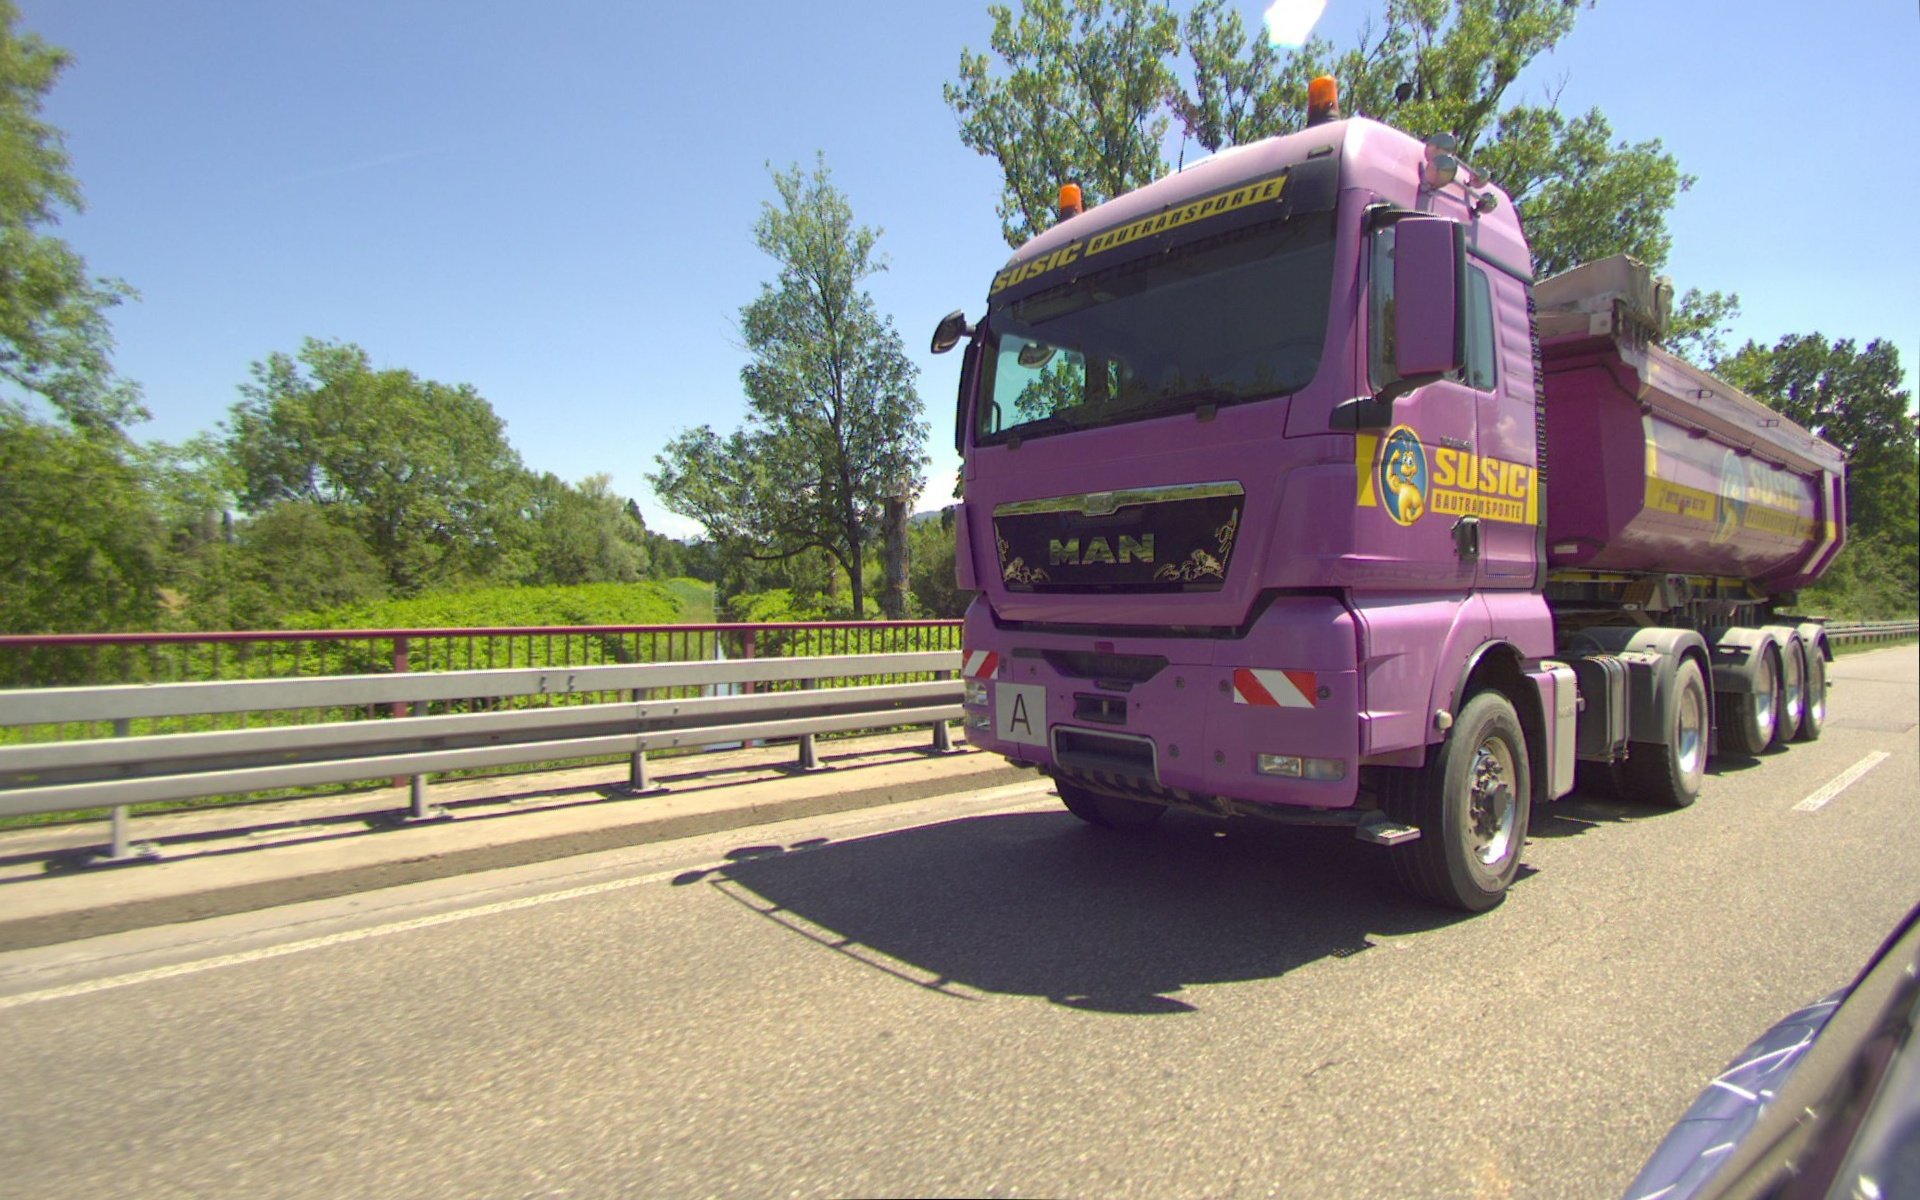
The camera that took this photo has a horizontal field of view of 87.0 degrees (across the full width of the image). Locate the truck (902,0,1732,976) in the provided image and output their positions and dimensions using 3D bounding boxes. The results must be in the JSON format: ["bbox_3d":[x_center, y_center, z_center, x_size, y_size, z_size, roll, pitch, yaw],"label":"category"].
[{"bbox_3d":[2.719,-0.523,6.574,5.836,3.738,2.602,0,0,-42],"label":"truck"}]

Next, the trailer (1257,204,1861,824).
[{"bbox_3d":[6.346,-0.515,9.795,8.464,3.675,2.602,0,0,-42],"label":"trailer"}]
